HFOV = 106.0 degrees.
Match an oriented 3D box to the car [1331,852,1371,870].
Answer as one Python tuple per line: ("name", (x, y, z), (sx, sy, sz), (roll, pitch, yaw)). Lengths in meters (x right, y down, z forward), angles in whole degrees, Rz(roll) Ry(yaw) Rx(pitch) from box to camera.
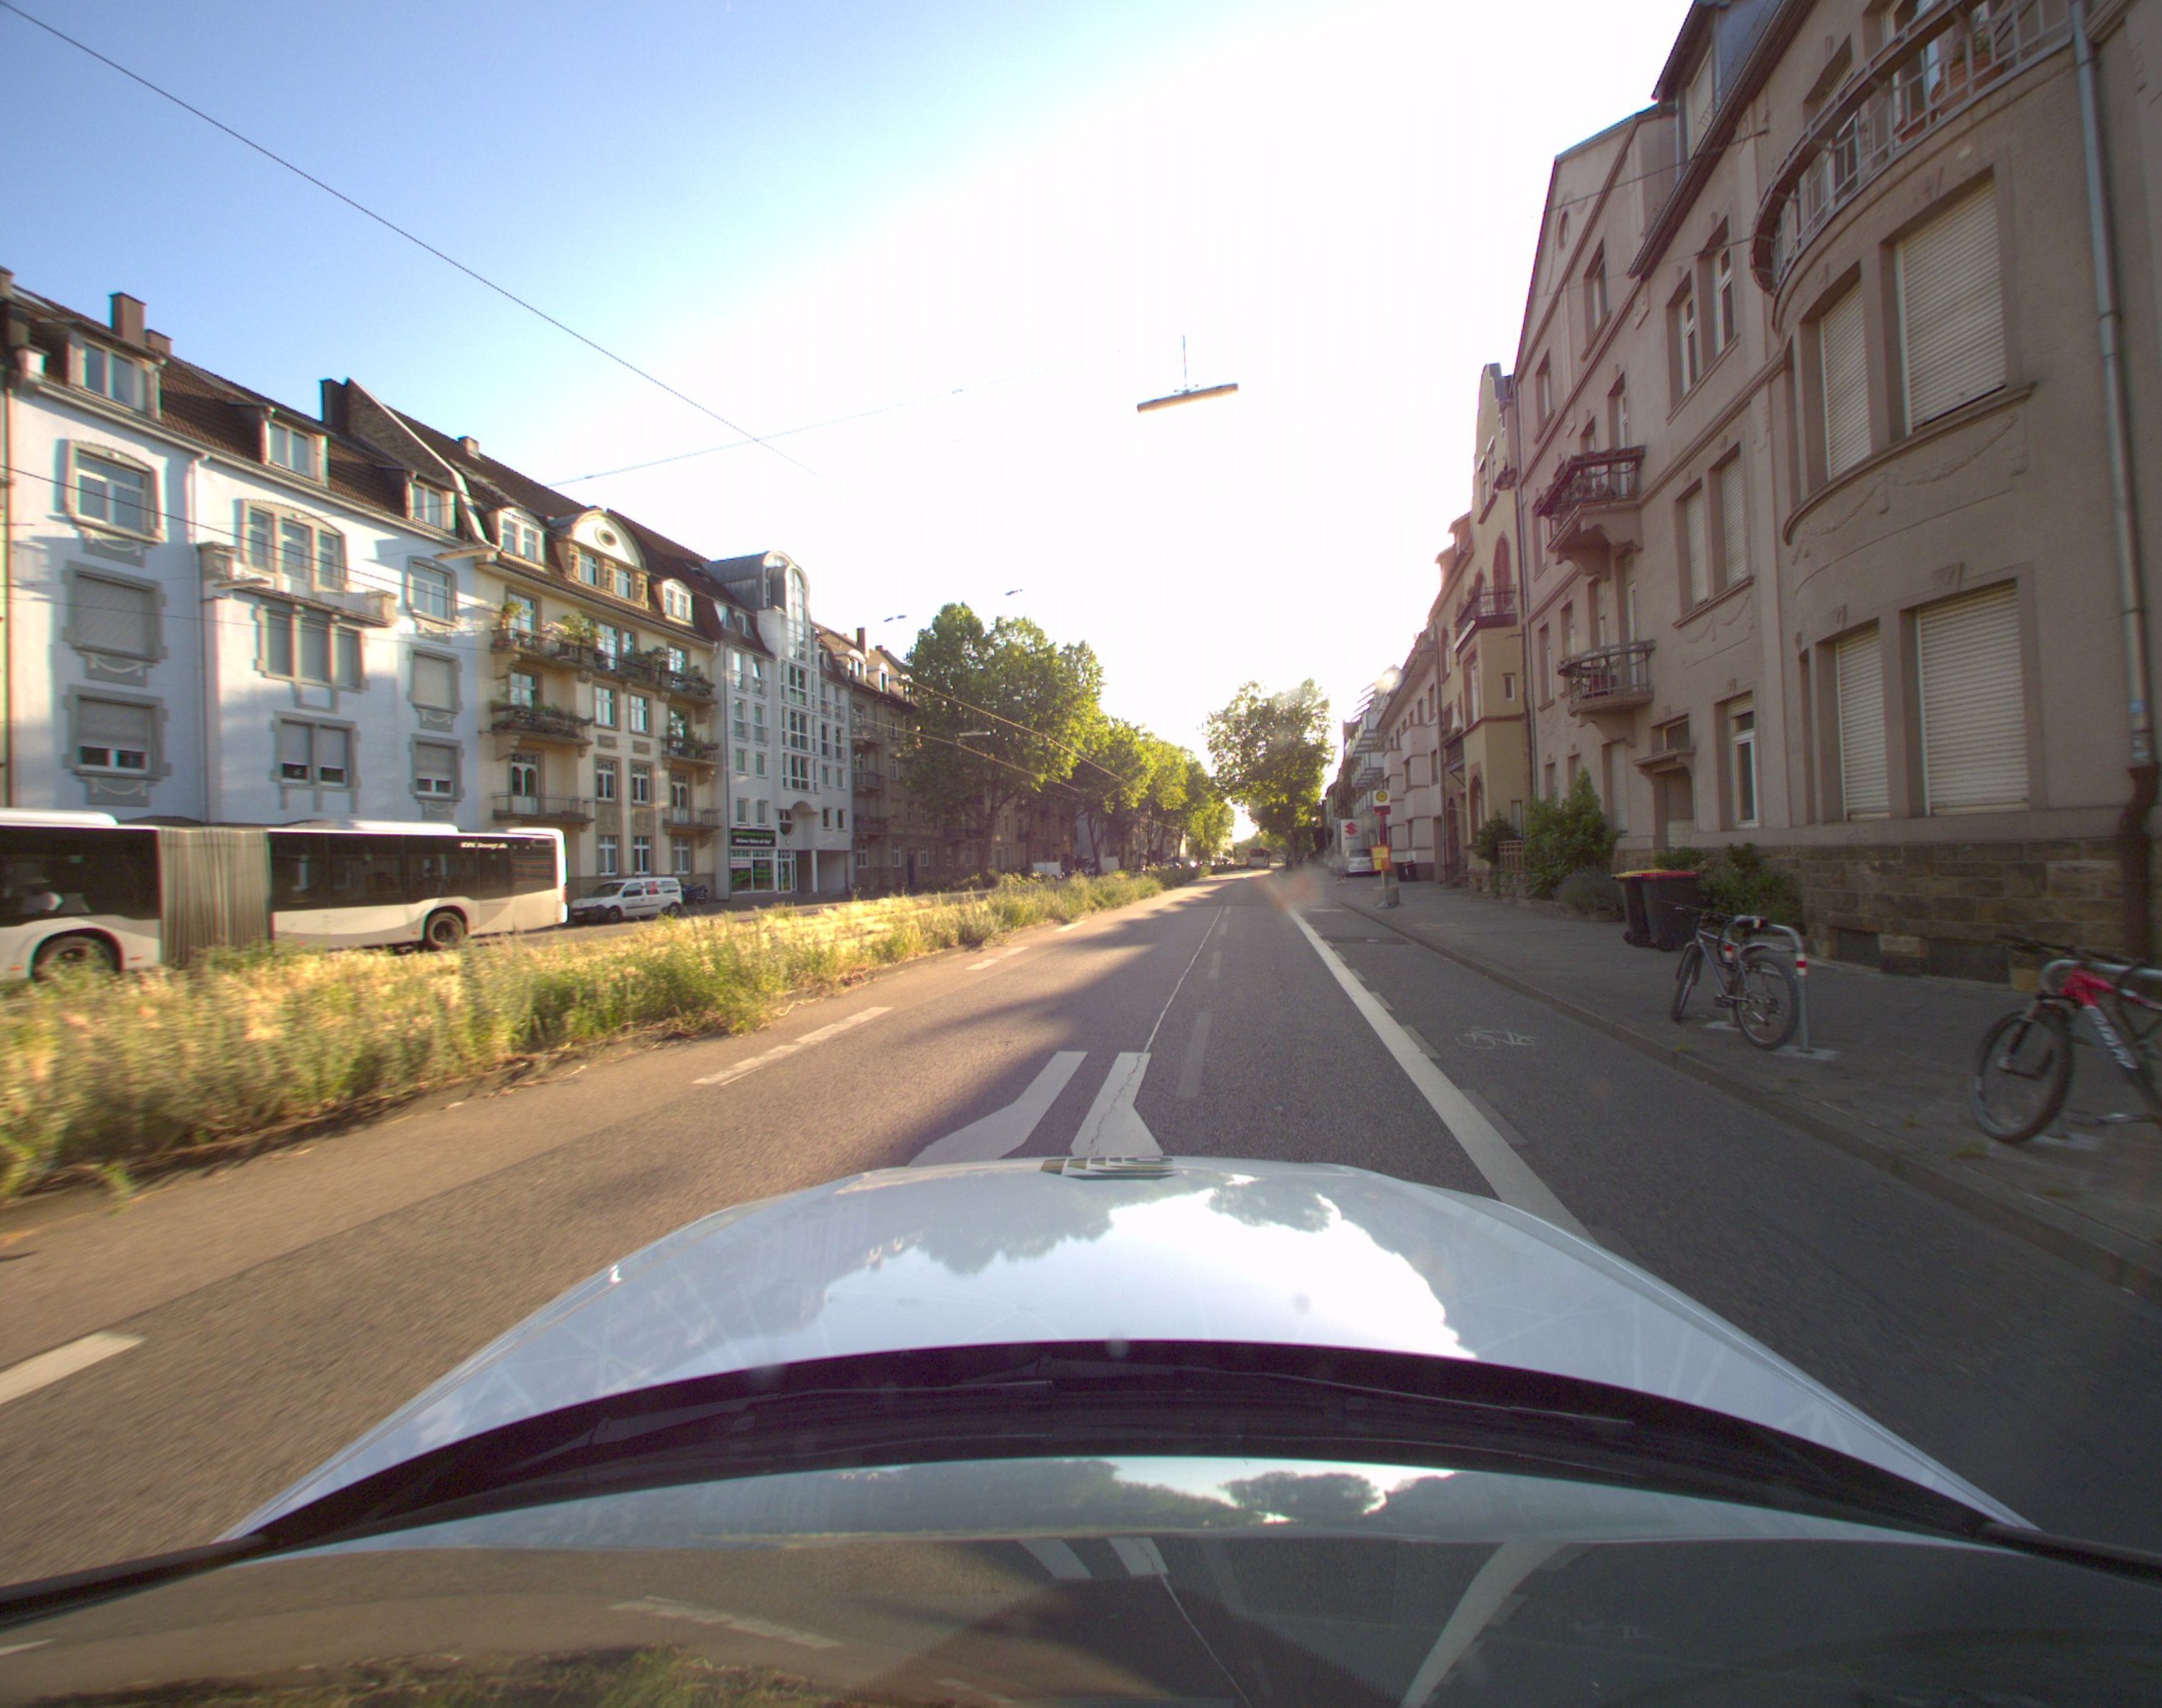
("car", (25.640, 0.660, 77.384), (3.395, 1.546, 1.447), (-2, -2, 11))

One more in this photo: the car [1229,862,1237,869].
("car", (40.802, 3.048, 218.136), (1.777, 1.574, 4.016), (-3, -1, 15))

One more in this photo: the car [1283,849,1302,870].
("car", (24.462, 0.690, 94.369), (1.979, 2.257, 5.254), (-3, -2, 13))

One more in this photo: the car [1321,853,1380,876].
("car", (19.754, 0.756, 59.769), (3.788, 1.501, 1.918), (-2, 0, 9))

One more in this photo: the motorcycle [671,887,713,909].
("motorcycle", (-20.098, 2.275, 42.095), (0.524, 1.021, 2.429), (0, 0, 14))

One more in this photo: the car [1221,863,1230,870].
("car", (35.832, 3.033, 201.336), (1.856, 1.694, 4.794), (-3, -2, 14))

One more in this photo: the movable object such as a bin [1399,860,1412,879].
("movable object such as a bin", (16.423, 0.780, 41.216), (0.549, 0.969, 0.587), (-3, -2, 16))

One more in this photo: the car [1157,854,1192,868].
("car", (19.991, 1.573, 174.048), (6.930, 2.678, 2.180), (-2, -2, -7))

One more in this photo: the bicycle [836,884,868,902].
("bicycle", (-14.269, 2.427, 50.736), (0.750, 1.033, 1.906), (3, 1, 28))

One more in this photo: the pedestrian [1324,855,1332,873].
("pedestrian", (22.804, 0.938, 75.224), (0.658, 1.629, 0.926), (-3, -2, 14))

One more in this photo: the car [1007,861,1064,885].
("car", (-4.392, 1.846, 79.122), (5.260, 2.066, 1.706), (-2, -1, -28))

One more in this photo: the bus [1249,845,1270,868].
("bus", (27.152, 0.382, 123.903), (2.814, 3.236, 8.209), (-2, -2, 12))

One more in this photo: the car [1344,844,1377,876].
("car", (18.897, 0.438, 55.132), (1.878, 1.949, 4.922), (-3, -2, 17))

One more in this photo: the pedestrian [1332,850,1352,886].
("pedestrian", (13.796, 0.743, 43.123), (0.823, 1.813, 1.154), (-2, -2, 13))

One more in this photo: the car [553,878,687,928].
("car", (-18.563, 1.915, 33.077), (1.890, 1.787, 4.672), (-3, -2, 16))

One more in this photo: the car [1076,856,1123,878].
("car", (2.359, 1.659, 103.712), (5.522, 2.529, 2.107), (-2, -1, -28))

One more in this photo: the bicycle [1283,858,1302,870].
("bicycle", (22.311, 1.074, 85.966), (1.831, 1.143, 0.349), (-3, -2, 14))

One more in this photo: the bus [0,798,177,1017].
("bus", (-19.023, 0.832, 10.156), (3.241, 3.374, 9.937), (-3, -2, 15))

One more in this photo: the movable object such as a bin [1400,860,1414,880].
("movable object such as a bin", (16.267, 0.816, 40.593), (0.549, 0.969, 0.587), (-3, -2, 16))

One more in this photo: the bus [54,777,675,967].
("bus", (-16.203, 0.482, 20.750), (3.230, 3.374, 12.024), (-3, -2, 15))

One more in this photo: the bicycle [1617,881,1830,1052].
("bicycle", (4.984, 0.797, 6.479), (0.434, 1.098, 1.937), (-2, -1, 10))

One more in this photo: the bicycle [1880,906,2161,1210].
("bicycle", (4.417, 0.823, 3.566), (0.367, 1.068, 1.881), (-2, -1, 14))

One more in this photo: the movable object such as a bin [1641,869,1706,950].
("movable object such as a bin", (8.032, 0.746, 11.068), (0.564, 1.046, 0.663), (-3, -2, 27))

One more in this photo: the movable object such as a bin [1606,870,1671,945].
("movable object such as a bin", (8.064, 0.768, 11.812), (0.650, 1.046, 0.663), (-3, -2, 27))
